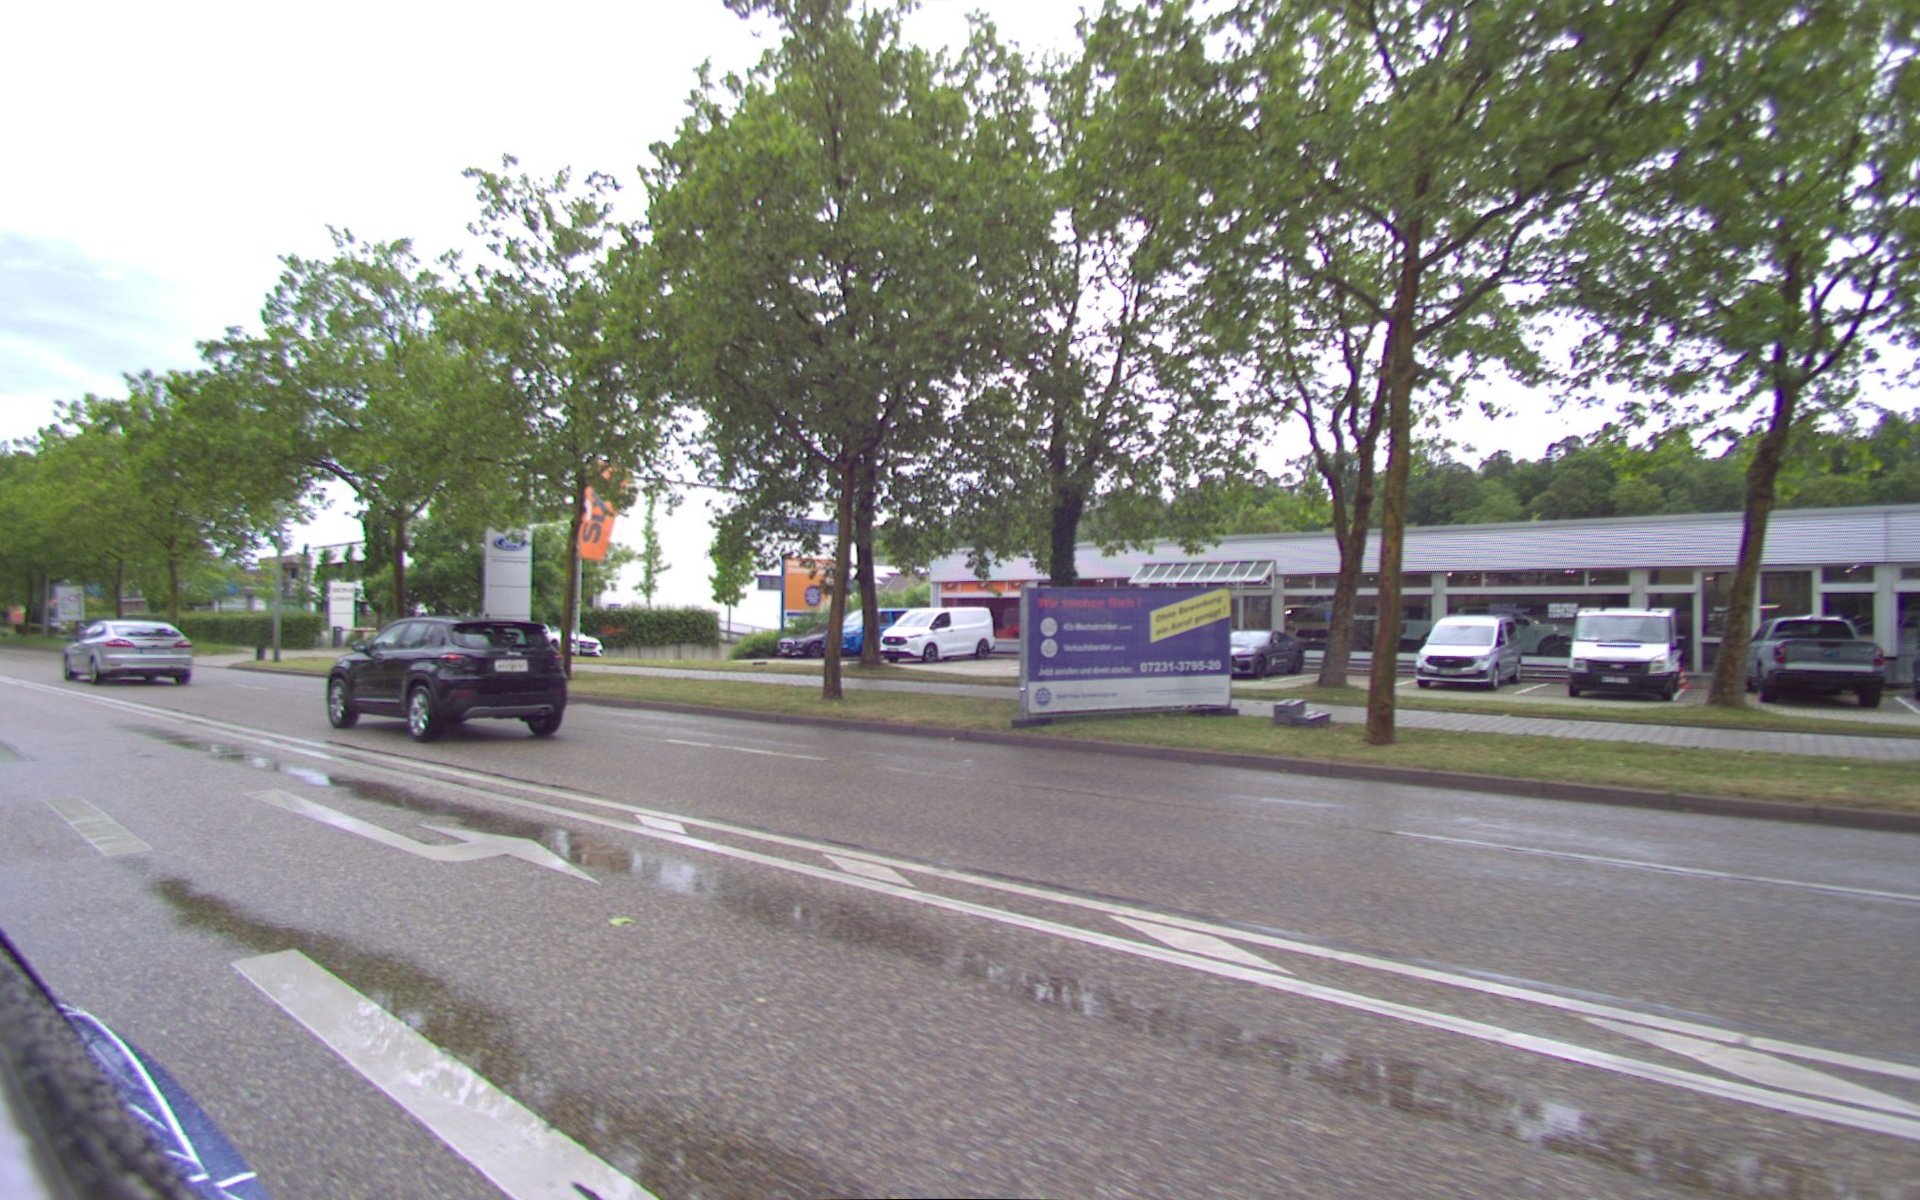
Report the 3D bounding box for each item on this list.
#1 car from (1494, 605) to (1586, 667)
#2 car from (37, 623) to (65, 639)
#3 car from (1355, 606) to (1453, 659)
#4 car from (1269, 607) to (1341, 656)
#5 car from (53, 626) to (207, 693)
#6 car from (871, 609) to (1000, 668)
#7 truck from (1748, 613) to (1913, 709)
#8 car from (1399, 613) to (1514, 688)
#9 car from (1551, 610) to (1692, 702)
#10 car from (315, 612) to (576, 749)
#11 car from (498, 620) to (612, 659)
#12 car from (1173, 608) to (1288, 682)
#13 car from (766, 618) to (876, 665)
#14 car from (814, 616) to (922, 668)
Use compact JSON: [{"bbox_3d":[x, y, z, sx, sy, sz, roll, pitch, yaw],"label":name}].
[{"bbox_3d":[17.870,1.085,31.112,1.863,1.780,3.948,-1,-2,39],"label":"car"},{"bbox_3d":[-94.877,3.215,105.589,3.999,1.545,1.723,-1,-4,42],"label":"car"},{"bbox_3d":[16.500,1.164,37.915,2.367,1.852,5.327,0,-1,13],"label":"car"},{"bbox_3d":[13.628,1.203,40.146,1.889,1.757,3.878,-1,0,7],"label":"car"},{"bbox_3d":[-19.964,1.365,24.266,4.681,1.440,1.973,-1,-3,40],"label":"car"},{"bbox_3d":[-0.840,1.408,37.677,2.127,2.029,4.996,-1,-2,39],"label":"car"},{"bbox_3d":[18.484,1.230,21.714,1.993,1.852,3.957,-1,-2,31],"label":"truck"},{"bbox_3d":[12.885,1.246,26.176,1.880,1.780,3.948,-1,-2,38],"label":"car"},{"bbox_3d":[15.691,1.234,23.866,2.412,1.918,5.325,-1,-2,37],"label":"car"},{"bbox_3d":[-6.901,0.989,13.427,3.856,1.543,1.744,-1,-4,41],"label":"car"},{"bbox_3d":[-16.531,1.572,41.222,5.242,1.507,2.096,-1,-2,40],"label":"car"},{"bbox_3d":[8.039,1.285,29.900,1.880,2.029,3.948,-1,-2,38],"label":"car"},{"bbox_3d":[-5.608,1.648,41.112,2.065,1.827,4.082,-2,-2,41],"label":"car"},{"bbox_3d":[-3.545,1.590,39.362,1.962,1.904,3.945,-2,-2,41],"label":"car"}]
